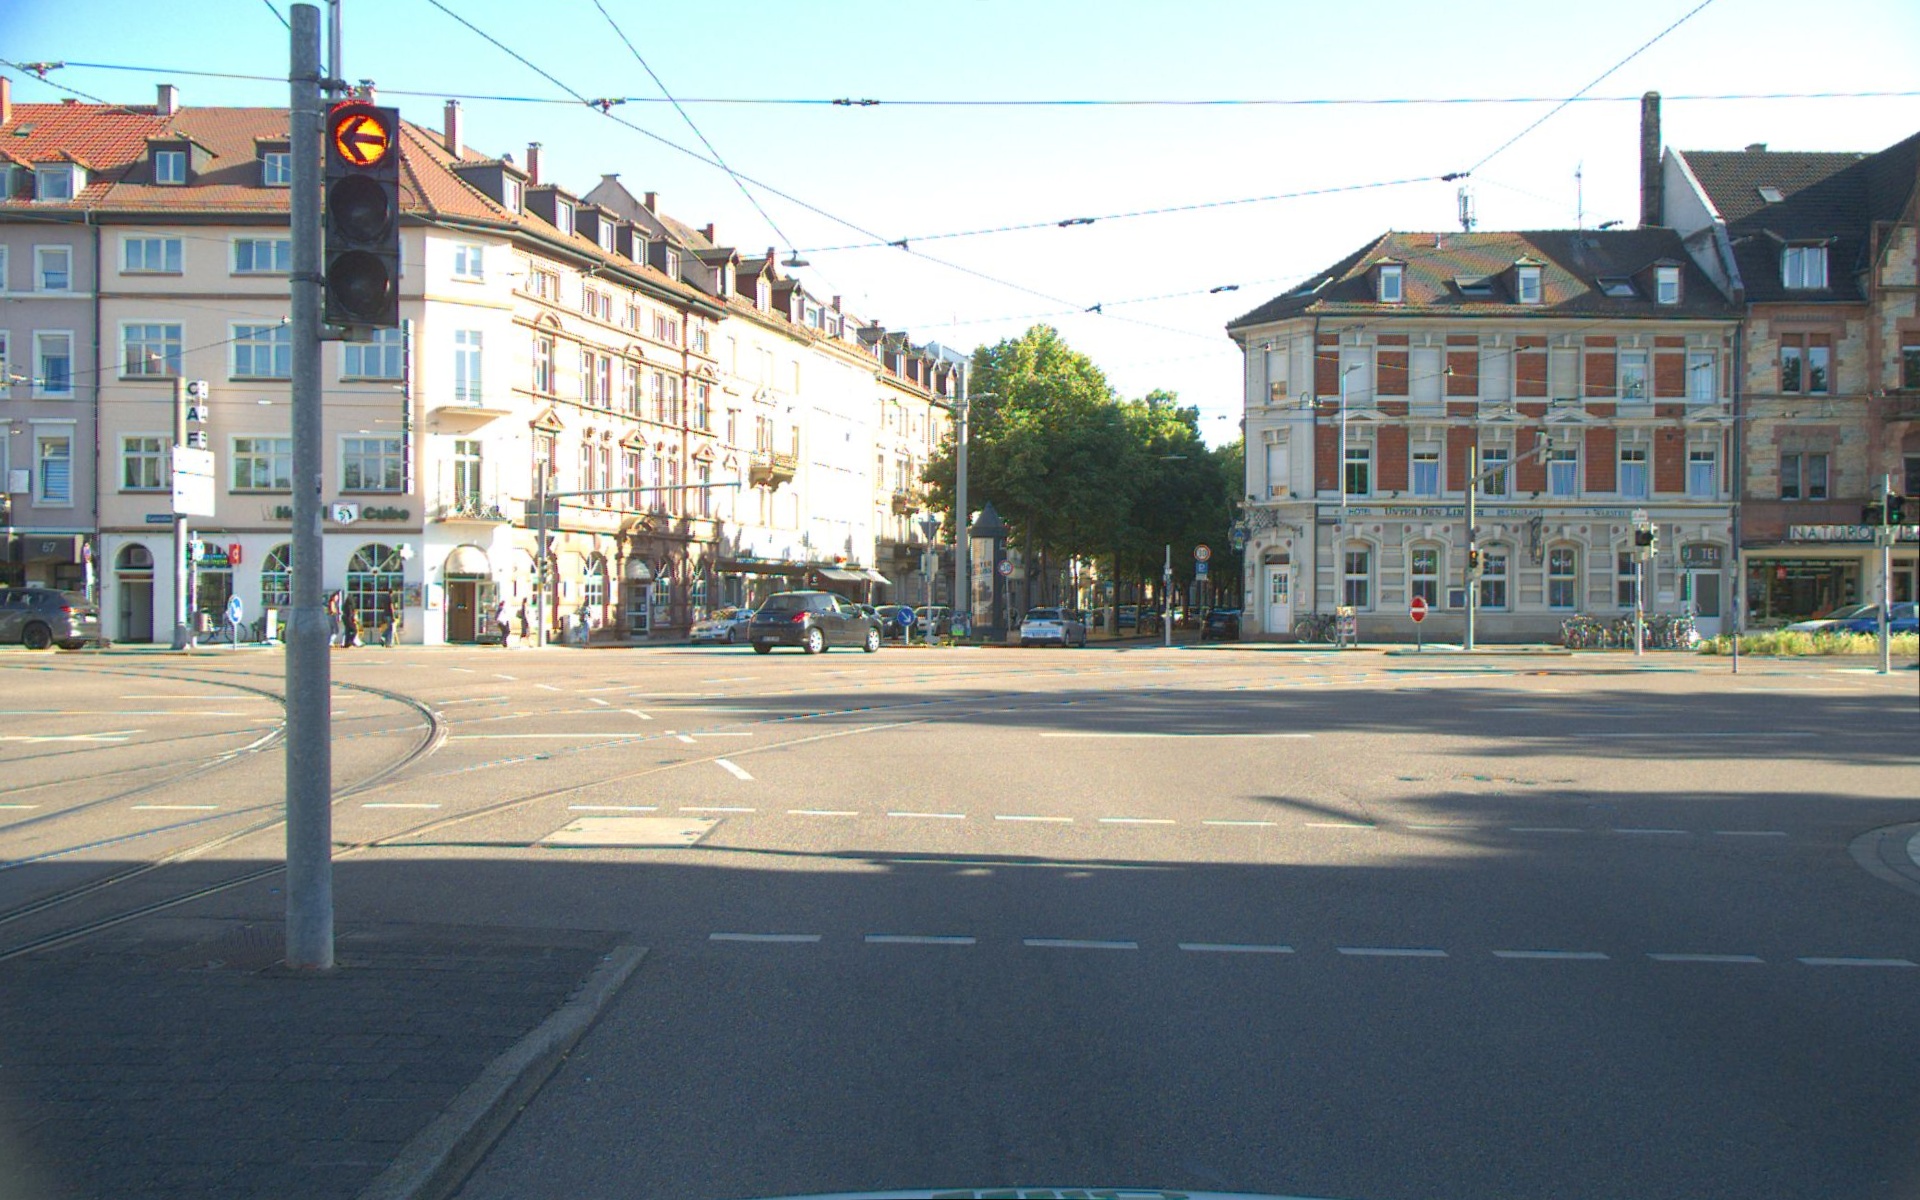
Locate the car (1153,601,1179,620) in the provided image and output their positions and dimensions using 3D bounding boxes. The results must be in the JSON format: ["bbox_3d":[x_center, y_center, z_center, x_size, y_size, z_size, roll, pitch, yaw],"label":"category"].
[{"bbox_3d":[16.765,0.843,134.785,1.526,1.540,3.658,1,0,16],"label":"car"}]

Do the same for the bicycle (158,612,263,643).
[{"bbox_3d":[-25.521,0.943,56.350,3.066,0.997,1.001,1,0,-1],"label":"bicycle"}]

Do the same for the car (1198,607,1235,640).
[{"bbox_3d":[12.863,1.156,82.775,1.655,1.592,3.844,1,0,11],"label":"car"}]

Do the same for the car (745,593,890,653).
[{"bbox_3d":[-3.459,0.551,40.765,1.720,1.386,3.850,1,0,28],"label":"car"}]

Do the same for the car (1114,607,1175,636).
[{"bbox_3d":[12.845,1.472,115.151,3.902,1.937,2.001,1,0,15],"label":"car"}]

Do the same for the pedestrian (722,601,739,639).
[{"bbox_3d":[-10.203,0.893,73.587,0.532,1.660,0.707,1,-1,13],"label":"pedestrian"}]

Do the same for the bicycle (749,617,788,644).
[{"bbox_3d":[-7.534,1.208,65.157,0.746,1.025,2.398,1,0,13],"label":"bicycle"}]

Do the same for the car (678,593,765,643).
[{"bbox_3d":[-9.607,0.722,66.995,1.951,1.937,4.002,1,0,17],"label":"car"}]

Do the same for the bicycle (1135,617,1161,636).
[{"bbox_3d":[11.276,1.577,99.223,0.619,1.104,1.685,1,0,-31],"label":"bicycle"}]

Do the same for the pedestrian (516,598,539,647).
[{"bbox_3d":[-14.861,0.760,56.832,0.620,1.662,0.700,1,-1,-4],"label":"pedestrian"}]

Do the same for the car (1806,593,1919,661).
[{"bbox_3d":[25.927,0.757,46.050,3.706,1.809,1.999,1,0,-2],"label":"car"}]

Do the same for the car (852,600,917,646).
[{"bbox_3d":[-3.320,1.015,73.543,1.951,1.937,4.003,1,0,11],"label":"car"}]

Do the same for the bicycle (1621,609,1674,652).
[{"bbox_3d":[22.079,0.962,53.151,0.615,1.309,2.661,1,0,0],"label":"bicycle"}]

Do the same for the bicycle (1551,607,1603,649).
[{"bbox_3d":[19.801,0.887,53.145,0.678,1.309,2.661,1,0,0],"label":"bicycle"}]

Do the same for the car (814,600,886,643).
[{"bbox_3d":[-4.456,0.868,67.433,1.951,1.646,4.003,1,0,11],"label":"car"}]

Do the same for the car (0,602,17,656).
[{"bbox_3d":[-32.391,0.914,52.428,3.902,1.699,2.002,0,0,8],"label":"car"}]

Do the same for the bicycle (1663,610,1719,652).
[{"bbox_3d":[23.478,0.984,53.174,0.615,1.309,2.661,1,0,0],"label":"bicycle"}]

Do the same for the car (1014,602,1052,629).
[{"bbox_3d":[5.454,1.126,122.871,1.951,1.937,4.002,1,0,16],"label":"car"}]

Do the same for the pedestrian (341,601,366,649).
[{"bbox_3d":[-19.286,0.800,52.594,0.620,1.502,0.465,1,-1,-5],"label":"pedestrian"}]

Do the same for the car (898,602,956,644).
[{"bbox_3d":[-1.562,1.071,79.540,1.951,1.937,4.003,1,0,11],"label":"car"}]

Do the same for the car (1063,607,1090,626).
[{"bbox_3d":[9.625,1.331,136.465,1.526,1.540,3.658,1,0,16],"label":"car"}]

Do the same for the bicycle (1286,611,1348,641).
[{"bbox_3d":[12.346,0.887,57.271,2.006,1.015,0.631,1,0,2],"label":"bicycle"}]

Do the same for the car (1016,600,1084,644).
[{"bbox_3d":[3.326,0.793,60.484,1.734,1.557,4.003,1,0,14],"label":"car"}]

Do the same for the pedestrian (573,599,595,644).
[{"bbox_3d":[-13.983,0.797,61.496,0.532,1.660,0.707,1,-1,13],"label":"pedestrian"}]

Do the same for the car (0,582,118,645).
[{"bbox_3d":[-25.255,0.342,44.573,4.081,1.646,1.953,1,0,-2],"label":"car"}]

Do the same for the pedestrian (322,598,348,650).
[{"bbox_3d":[-20.034,0.761,53.013,0.620,1.640,0.465,1,-1,-5],"label":"pedestrian"}]

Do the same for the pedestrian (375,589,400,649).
[{"bbox_3d":[-18.437,0.609,53.300,0.620,1.914,0.465,1,-1,-5],"label":"pedestrian"}]

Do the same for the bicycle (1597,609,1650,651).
[{"bbox_3d":[21.302,0.948,53.148,0.615,1.309,2.661,1,0,0],"label":"bicycle"}]

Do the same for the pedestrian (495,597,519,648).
[{"bbox_3d":[-15.139,0.749,55.334,0.620,1.662,0.700,1,-1,-4],"label":"pedestrian"}]

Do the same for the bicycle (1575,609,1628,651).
[{"bbox_3d":[20.591,0.936,53.127,0.678,1.309,2.661,1,0,0],"label":"bicycle"}]

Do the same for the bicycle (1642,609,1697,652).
[{"bbox_3d":[22.794,0.966,53.175,0.615,1.309,2.661,1,0,0],"label":"bicycle"}]

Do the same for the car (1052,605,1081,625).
[{"bbox_3d":[8.555,1.226,132.418,1.526,1.540,3.658,1,0,16],"label":"car"}]
